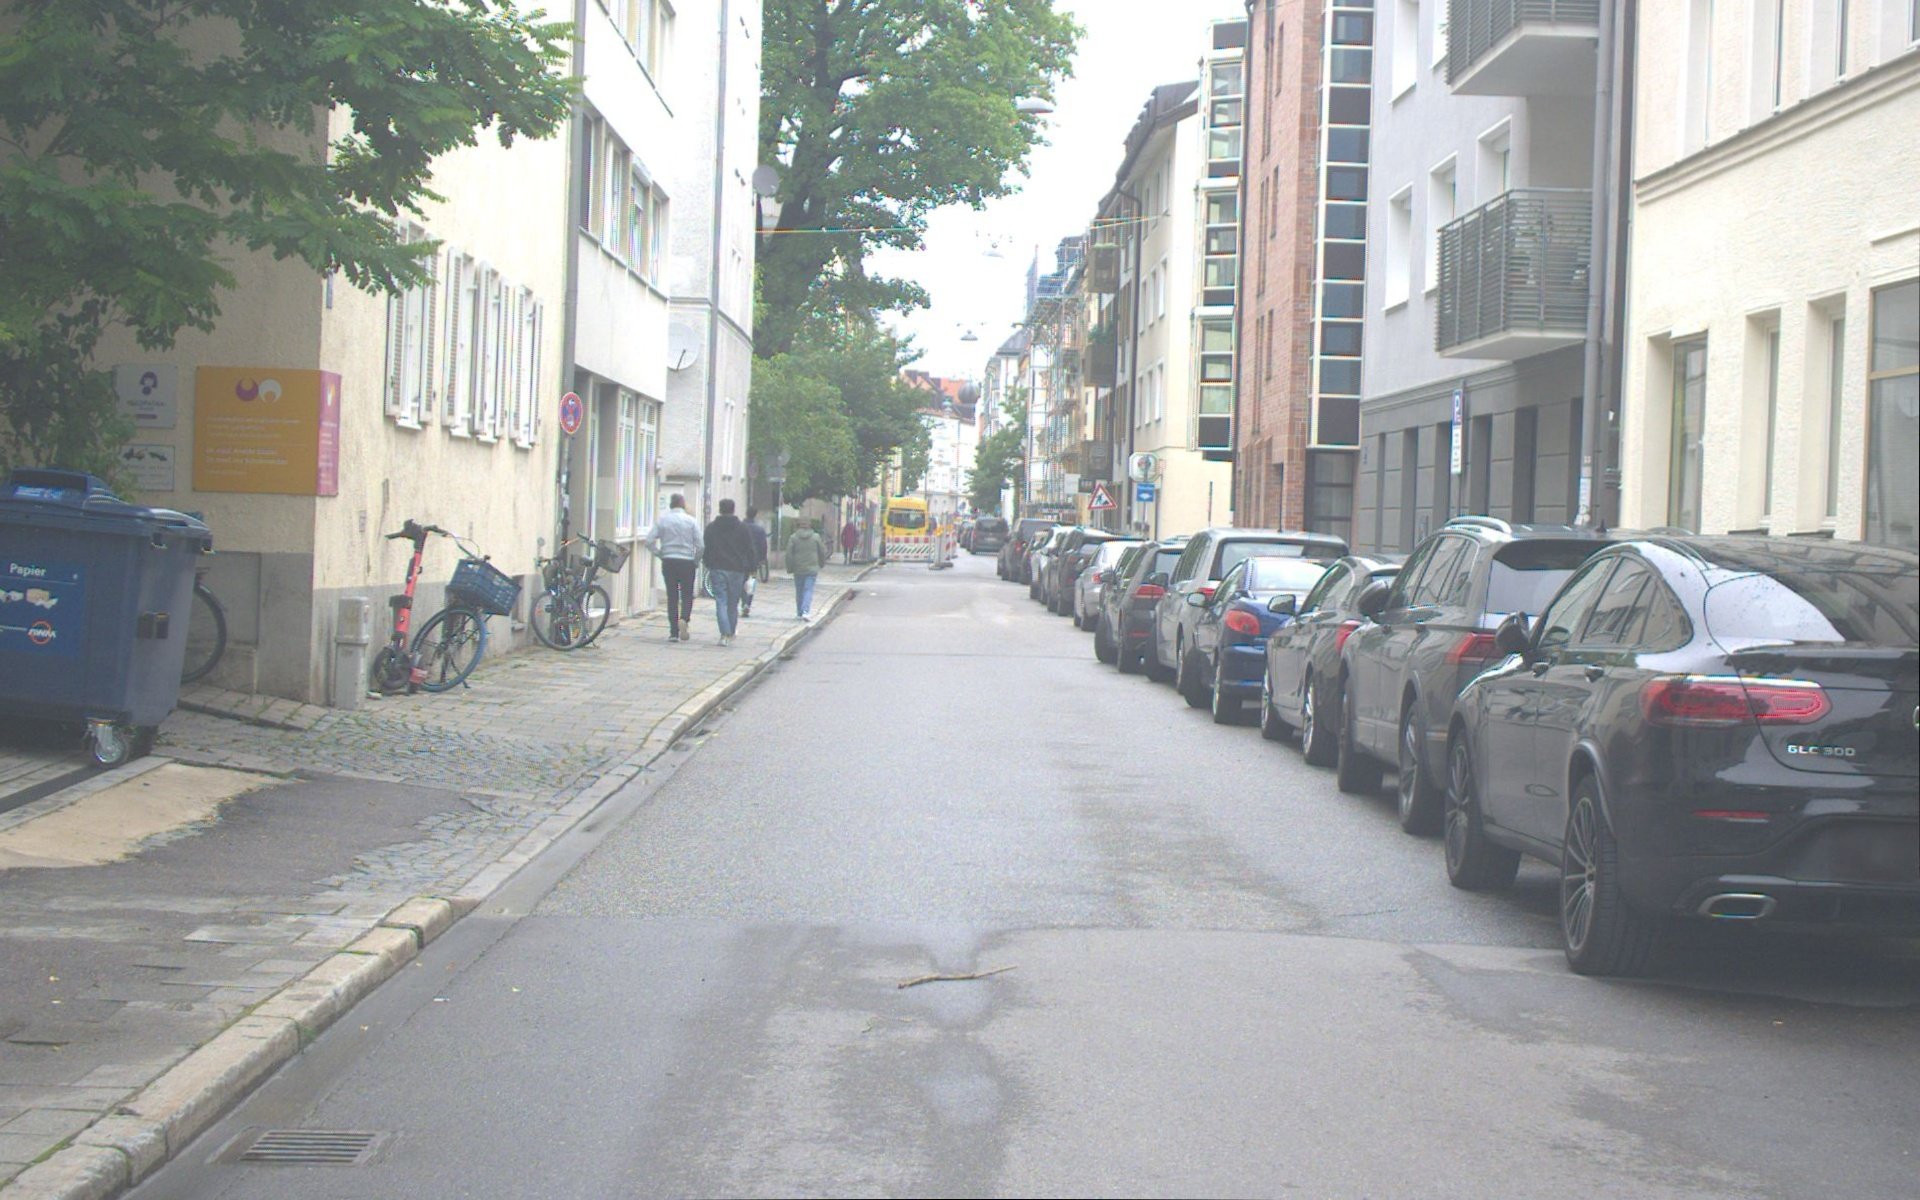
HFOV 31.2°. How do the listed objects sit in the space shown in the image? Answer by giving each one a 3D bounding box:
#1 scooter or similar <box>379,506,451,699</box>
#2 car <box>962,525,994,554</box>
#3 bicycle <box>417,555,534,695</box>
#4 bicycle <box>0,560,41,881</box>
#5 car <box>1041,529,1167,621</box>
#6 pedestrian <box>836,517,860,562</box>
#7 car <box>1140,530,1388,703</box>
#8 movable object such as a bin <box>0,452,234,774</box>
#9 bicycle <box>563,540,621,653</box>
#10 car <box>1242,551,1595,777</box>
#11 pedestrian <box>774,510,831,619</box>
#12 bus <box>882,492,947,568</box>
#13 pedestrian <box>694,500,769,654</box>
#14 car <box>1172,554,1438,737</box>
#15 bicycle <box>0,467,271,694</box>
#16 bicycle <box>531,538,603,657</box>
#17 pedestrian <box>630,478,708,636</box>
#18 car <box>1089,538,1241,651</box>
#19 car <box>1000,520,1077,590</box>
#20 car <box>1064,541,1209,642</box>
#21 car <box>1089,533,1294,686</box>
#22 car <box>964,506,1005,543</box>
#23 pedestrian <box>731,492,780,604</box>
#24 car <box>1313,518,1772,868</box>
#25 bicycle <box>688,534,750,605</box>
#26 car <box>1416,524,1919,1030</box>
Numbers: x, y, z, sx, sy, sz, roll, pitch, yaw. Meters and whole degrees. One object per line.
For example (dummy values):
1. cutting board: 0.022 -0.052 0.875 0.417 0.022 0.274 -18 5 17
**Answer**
1. scooter or similar: -3.990 0.010 25.209 0.317 1.371 1.239 1 1 -1
2. car: 1.075 -3.633 206.087 1.801 1.608 4.000 3 1 0
3. bicycle: -3.783 0.177 26.945 0.703 0.981 1.823 6 1 -5
4. bicycle: -3.703 0.440 11.879 0.544 1.157 1.882 4 1 -2
5. car: 2.628 -0.492 63.538 1.885 1.550 4.392 3 1 -3
6. pedestrian: -3.685 -1.991 113.123 0.756 1.486 0.831 1 1 0
7. car: 2.907 0.109 33.791 1.875 1.565 4.317 1 1 -2
8. movable object such as a bin: -4.499 0.035 17.336 1.174 1.437 1.248 7 3 5
9. bicycle: -3.942 -0.052 36.802 0.561 1.155 1.721 2 1 -6
10. car: 3.133 0.381 24.337 1.799 1.381 4.349 1 1 -1
11. pedestrian: -2.480 -0.567 54.164 0.753 1.653 0.906 4 1 0
12. bus: -1.898 -2.933 145.790 2.593 3.091 6.306 1 1 0
13. pedestrian: -2.698 -0.273 40.632 0.718 1.759 0.838 4 1 0
14. car: 2.821 0.329 28.873 1.808 1.358 3.945 1 1 0
15. bicycle: -5.556 -0.150 21.741 2.200 1.294 0.514 5 1 -1
16. bicycle: -4.004 -0.031 35.086 0.458 1.155 1.605 4 1 0
17. pedestrian: -3.411 -0.502 40.356 0.718 1.790 0.917 4 1 0
18. car: 2.880 -0.109 49.094 1.745 1.457 4.151 3 1 -2
19. car: 2.248 -1.327 100.017 1.801 1.814 4.001 6 1 -3
20. car: 2.711 -0.165 53.693 1.836 1.412 4.601 3 1 -2
21. car: 2.540 0.059 38.676 1.839 1.523 4.293 3 1 -2
22. car: 1.257 -3.895 177.757 1.801 1.706 3.827 6 1 -2
23. pedestrian: -3.194 -0.813 53.744 0.612 1.707 0.823 4 1 -1
24. car: 3.095 0.405 19.162 1.676 1.655 4.513 2 1 -1
25. bicycle: -4.195 -0.540 59.763 0.641 1.213 1.665 1 1 -19
26. car: 3.014 0.541 13.512 1.702 1.601 4.685 2 1 -1
